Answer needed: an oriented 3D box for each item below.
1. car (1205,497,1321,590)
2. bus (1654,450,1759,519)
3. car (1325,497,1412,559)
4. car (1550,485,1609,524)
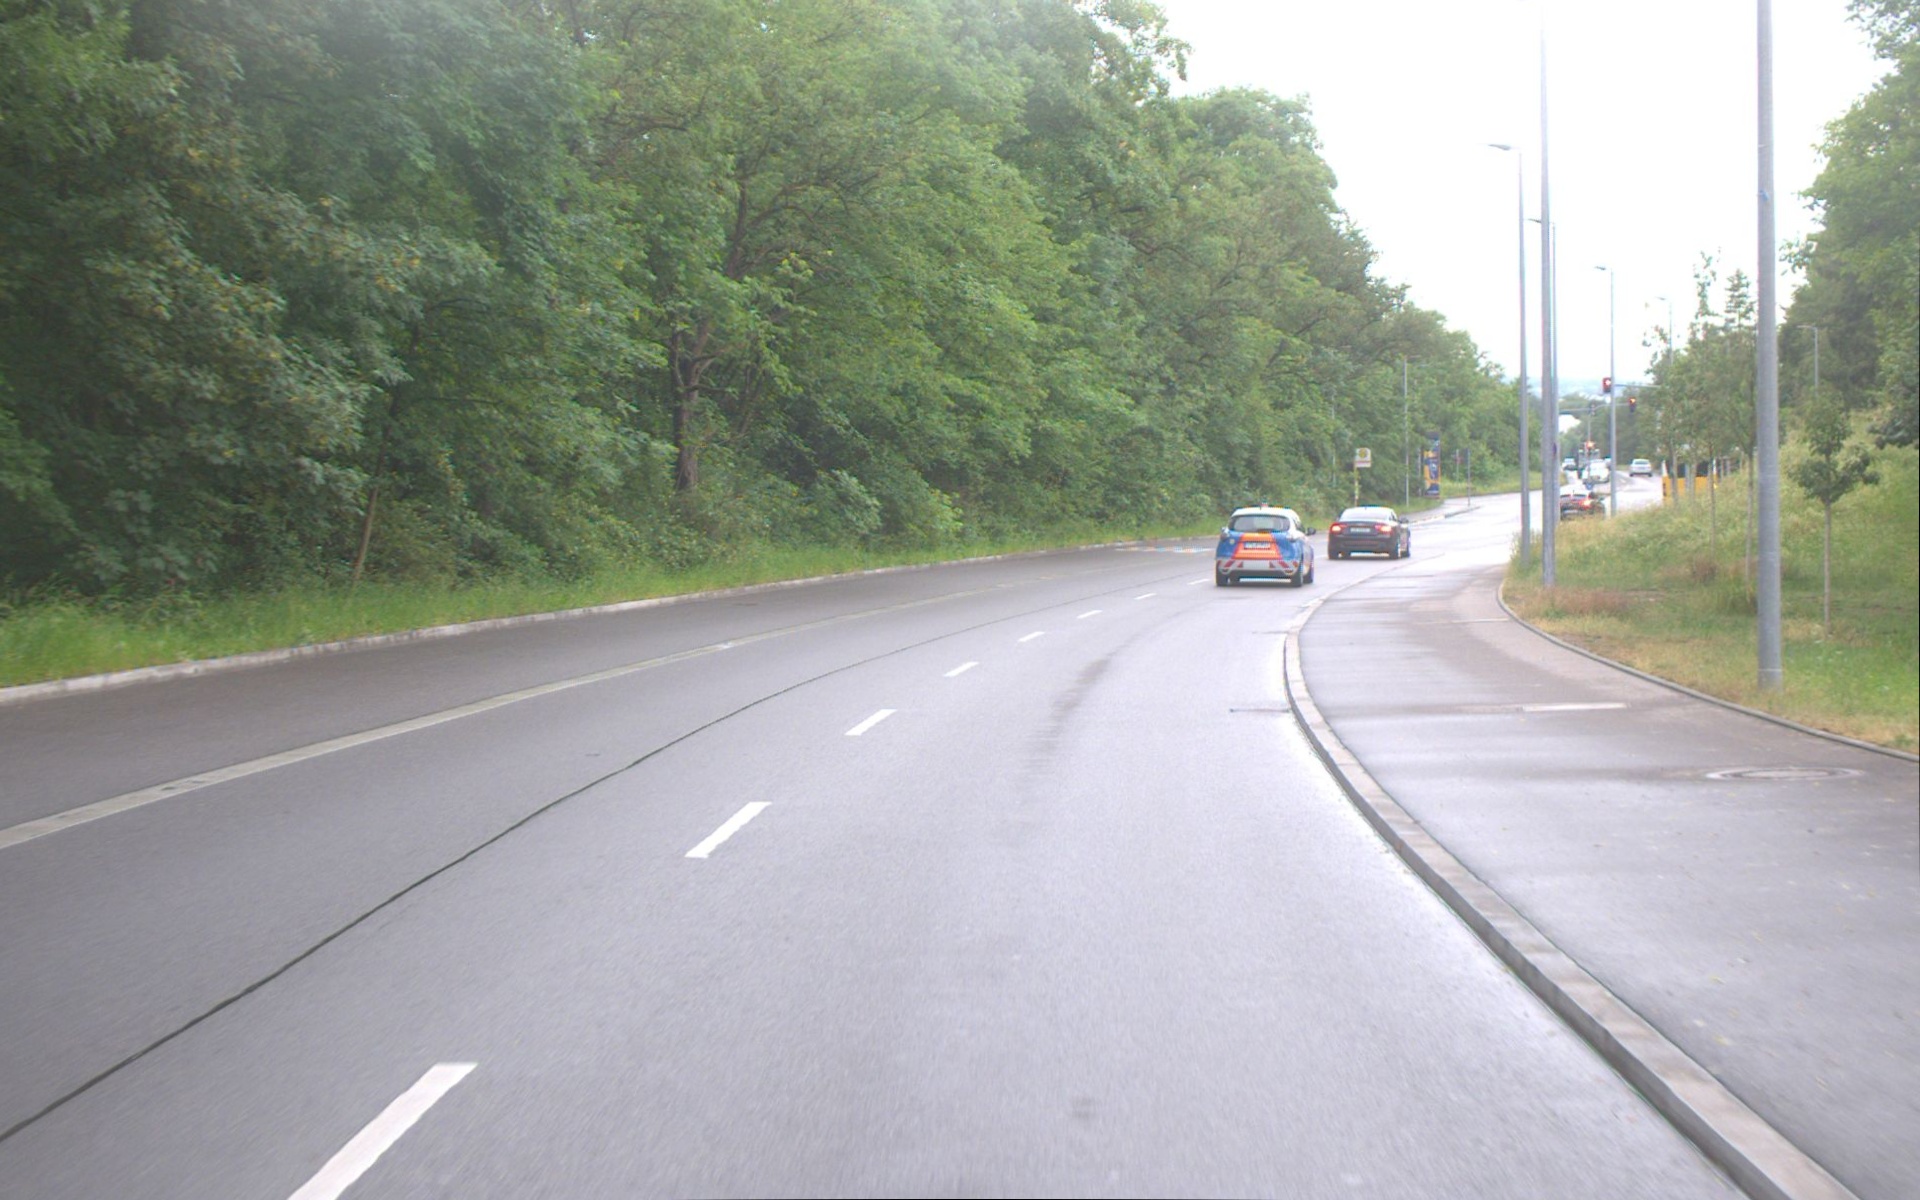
[{"bbox_3d":[6.153,-1.164,69.459,1.994,1.683,3.999,-1,3,10],"label":"car"},{"bbox_3d":[35.253,-5.434,162.092,2.820,3.132,9.168,1,2,25],"label":"bus"},{"bbox_3d":[10.890,-1.931,91.403,1.928,1.481,3.798,-1,3,12],"label":"car"},{"bbox_3d":[25.710,-3.973,142.631,1.995,1.546,3.997,1,2,16],"label":"car"}]
